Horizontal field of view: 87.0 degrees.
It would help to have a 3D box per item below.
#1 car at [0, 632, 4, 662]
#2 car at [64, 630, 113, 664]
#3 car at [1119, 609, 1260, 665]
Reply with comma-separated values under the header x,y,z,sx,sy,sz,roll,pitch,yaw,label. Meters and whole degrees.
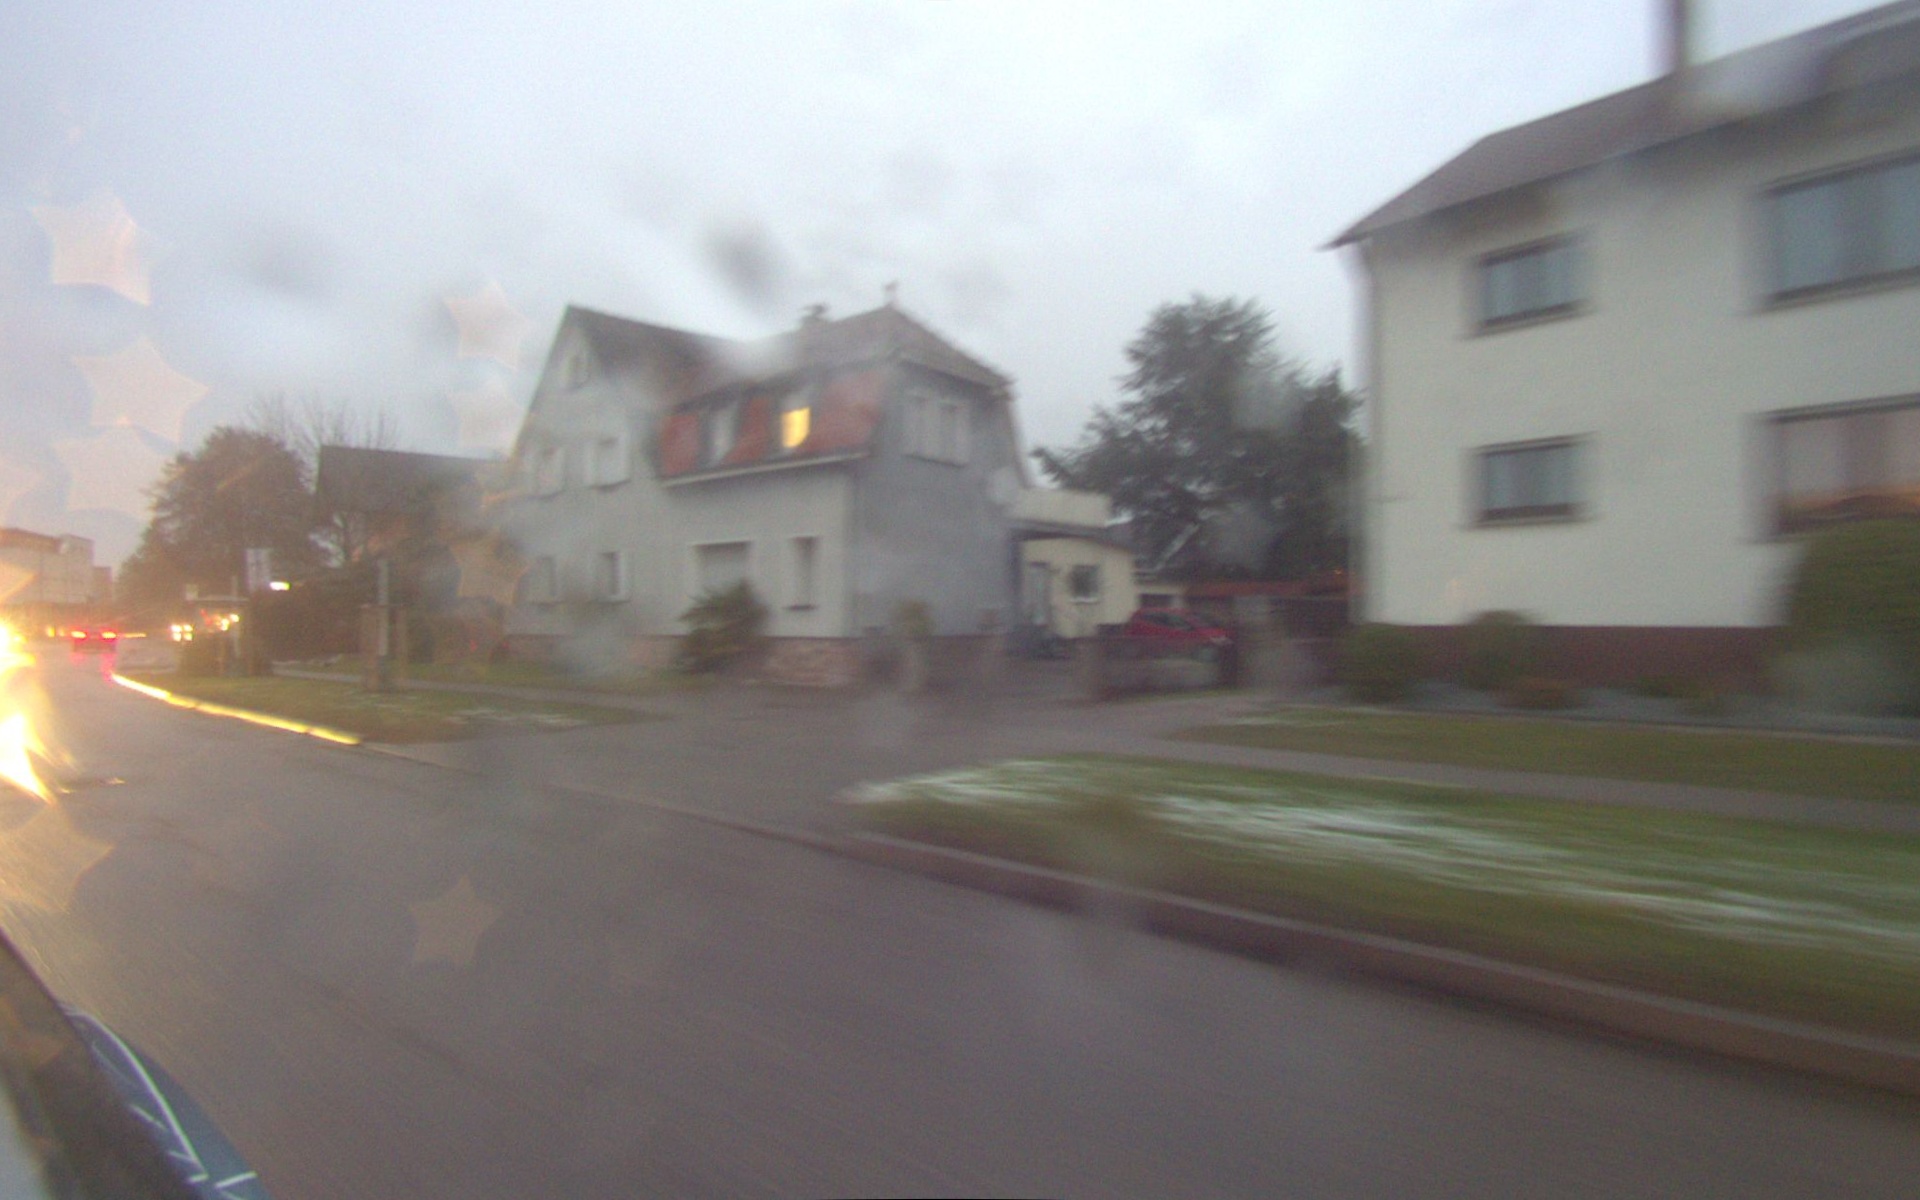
x,y,z,sx,sy,sz,roll,pitch,yaw,label
-52.486,2.559,54.004,1.748,1.630,3.880,-1,0,-38,car
-47.805,2.550,55.561,1.938,1.711,4.007,-1,0,-40,car
6.906,1.101,30.590,3.671,1.587,1.973,-2,-2,41,car
